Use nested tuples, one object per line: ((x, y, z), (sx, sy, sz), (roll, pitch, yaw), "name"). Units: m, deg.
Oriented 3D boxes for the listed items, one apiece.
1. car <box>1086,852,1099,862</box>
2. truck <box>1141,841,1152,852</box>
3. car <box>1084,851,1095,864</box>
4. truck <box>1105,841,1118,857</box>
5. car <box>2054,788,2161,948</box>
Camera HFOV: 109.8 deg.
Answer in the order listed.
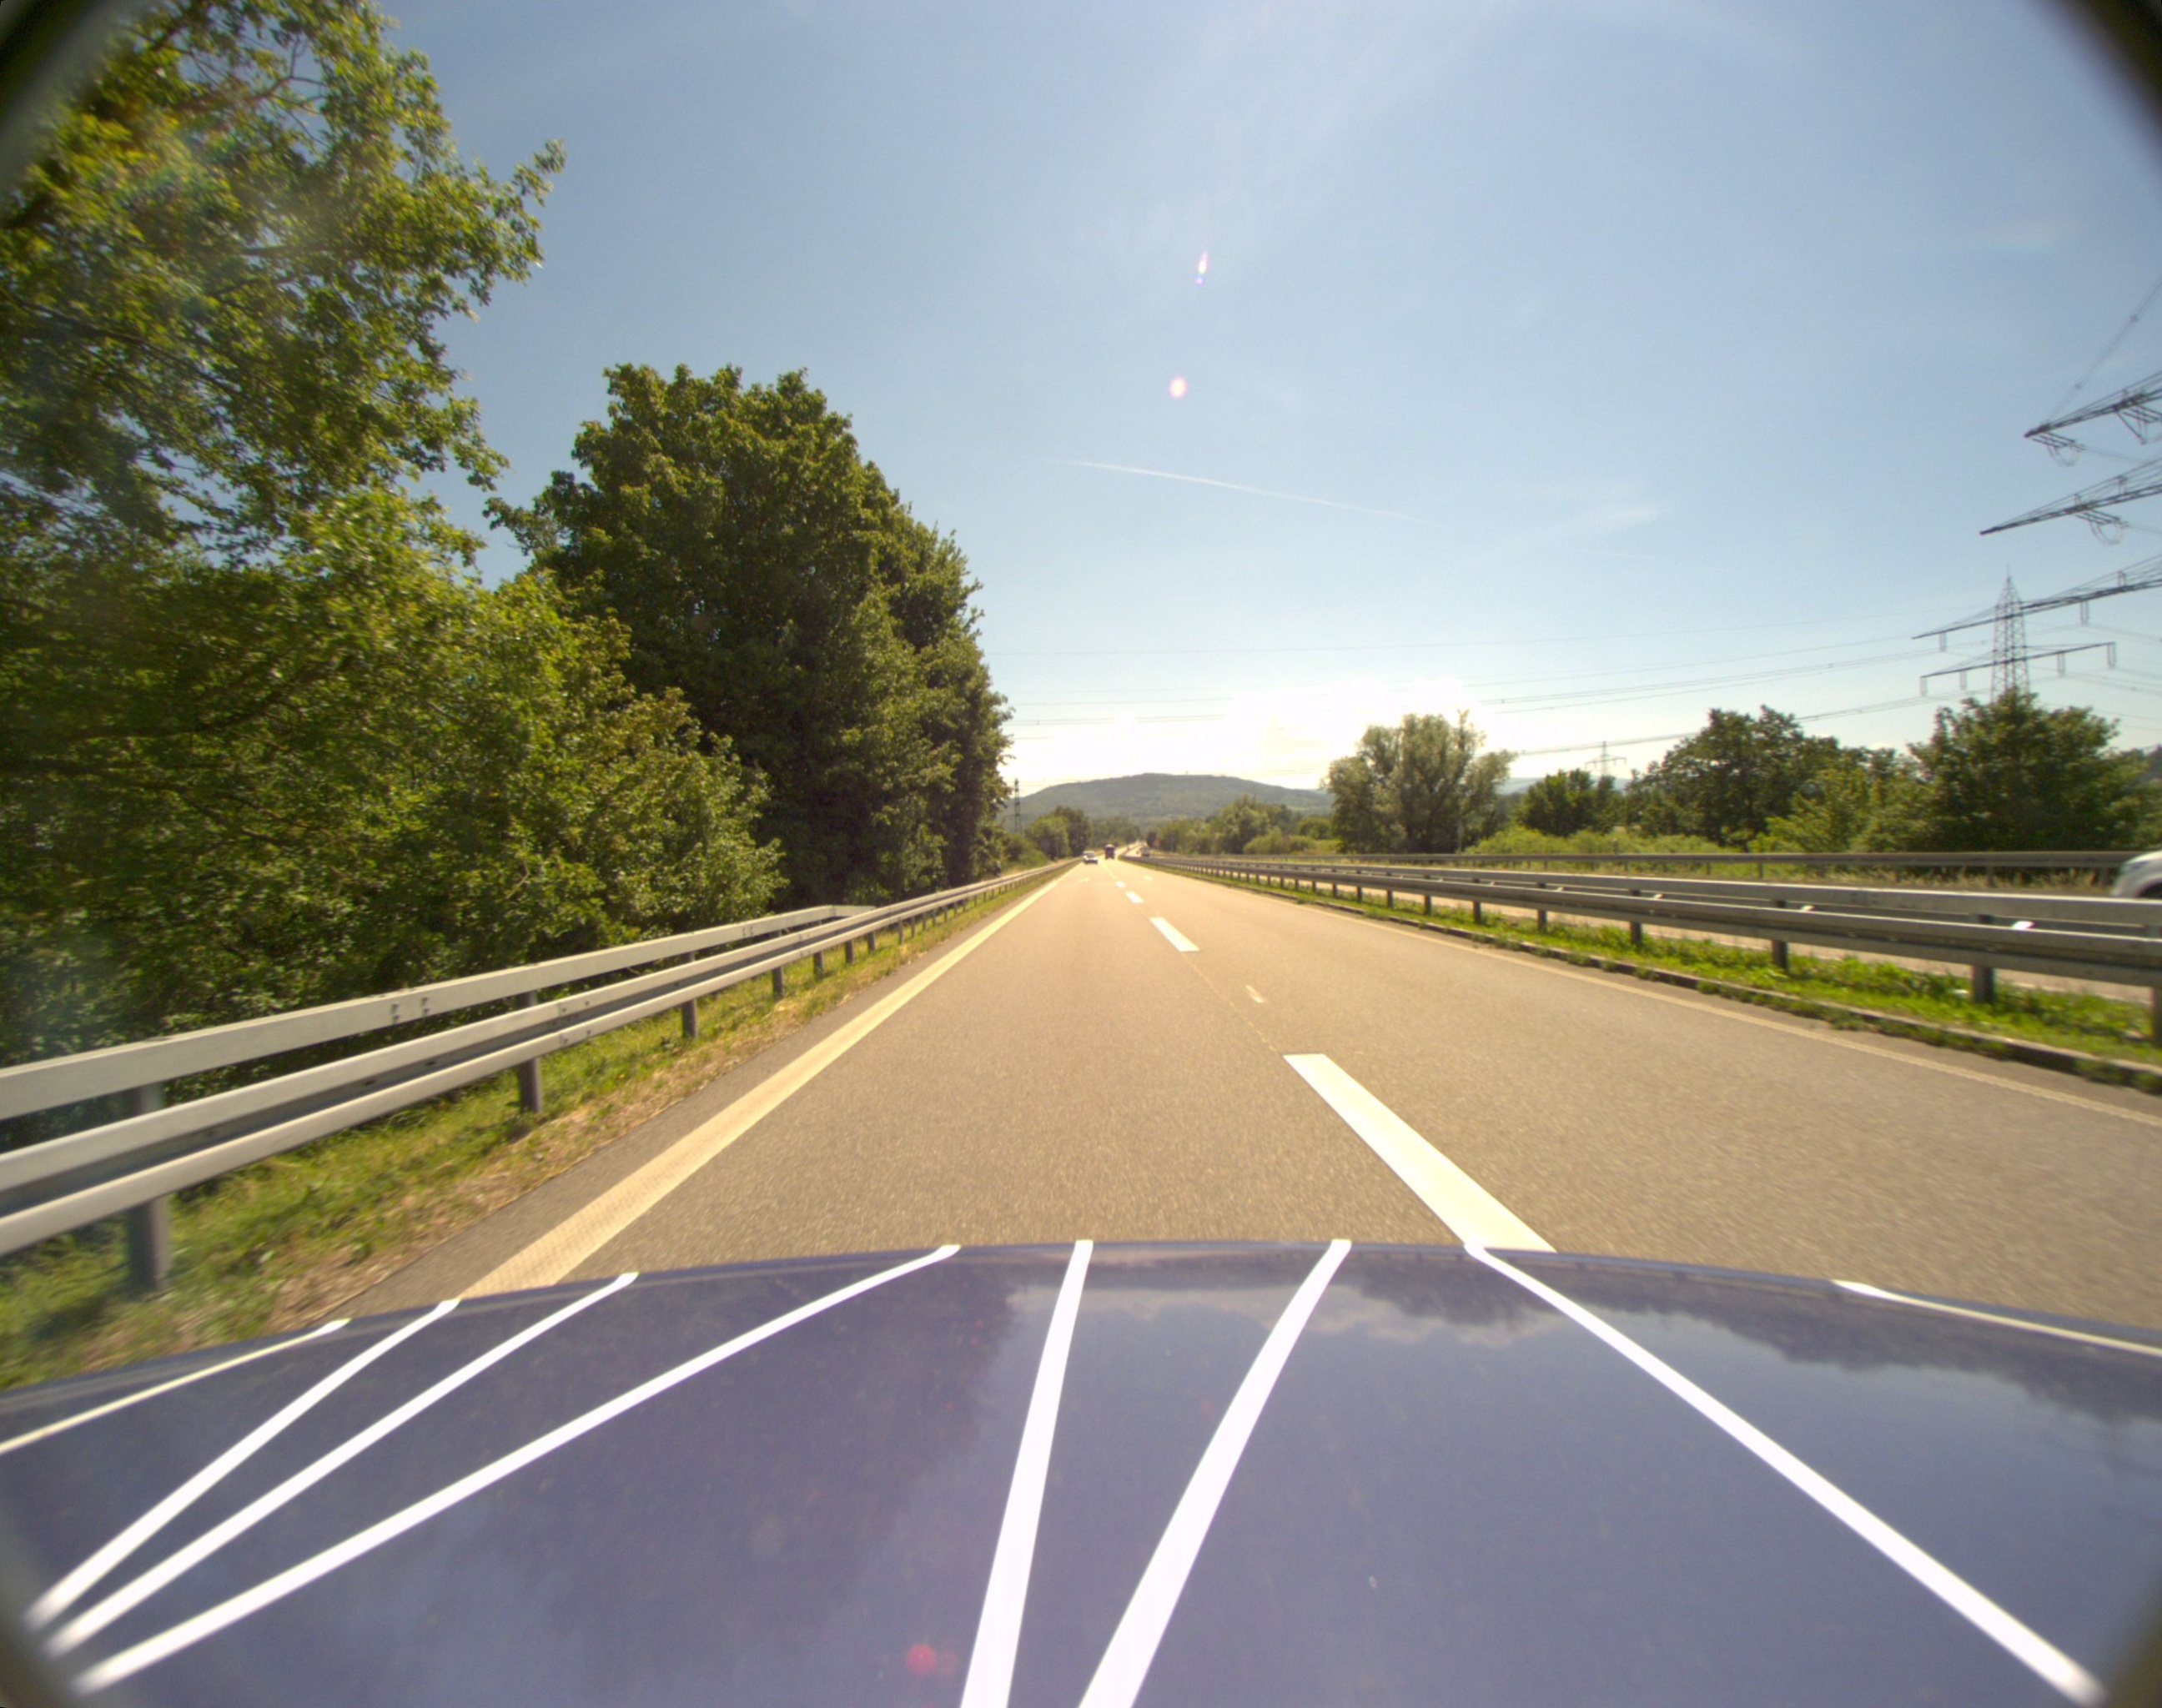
((1.699, 0.382, 111.066), (1.577, 1.387, 3.486), (-2, 1, 5), "car")
((19.337, -2.158, 226.061), (2.725, 3.174, 8.405), (-1, 0, 1), "truck")
((1.463, 0.579, 129.418), (1.619, 2.086, 3.486), (-2, 1, 5), "car")
((8.266, -1.290, 203.625), (2.826, 4.143, 9.951), (-2, 1, 6), "truck")
((14.317, 0.163, 7.686), (1.896, 1.981, 5.532), (-1, 0, 1), "car")
